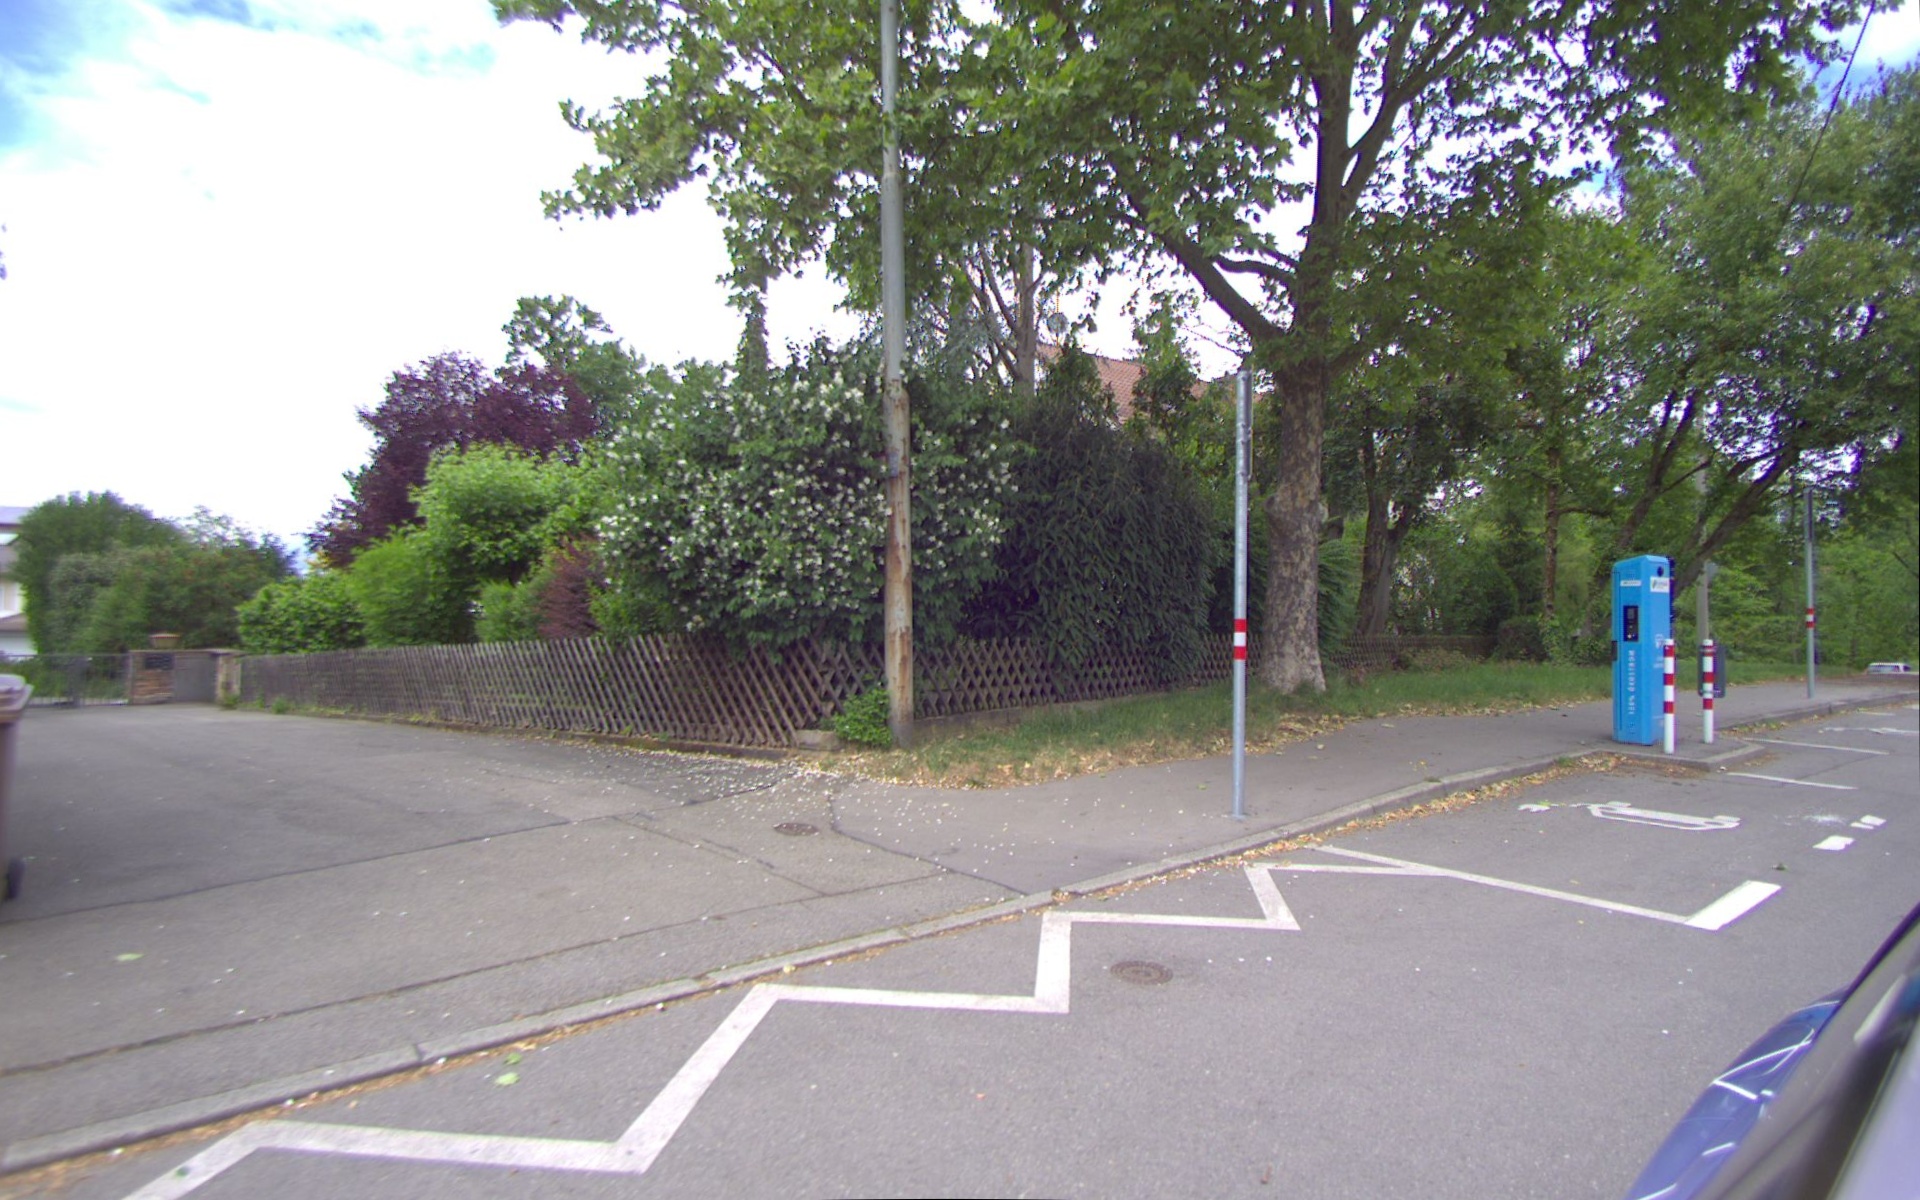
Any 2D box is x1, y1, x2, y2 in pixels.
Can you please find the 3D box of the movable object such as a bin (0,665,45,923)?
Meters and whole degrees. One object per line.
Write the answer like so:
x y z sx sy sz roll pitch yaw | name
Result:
-4.447 0.846 4.437 0.557 1.083 0.605 -1 -2 -34 | movable object such as a bin
